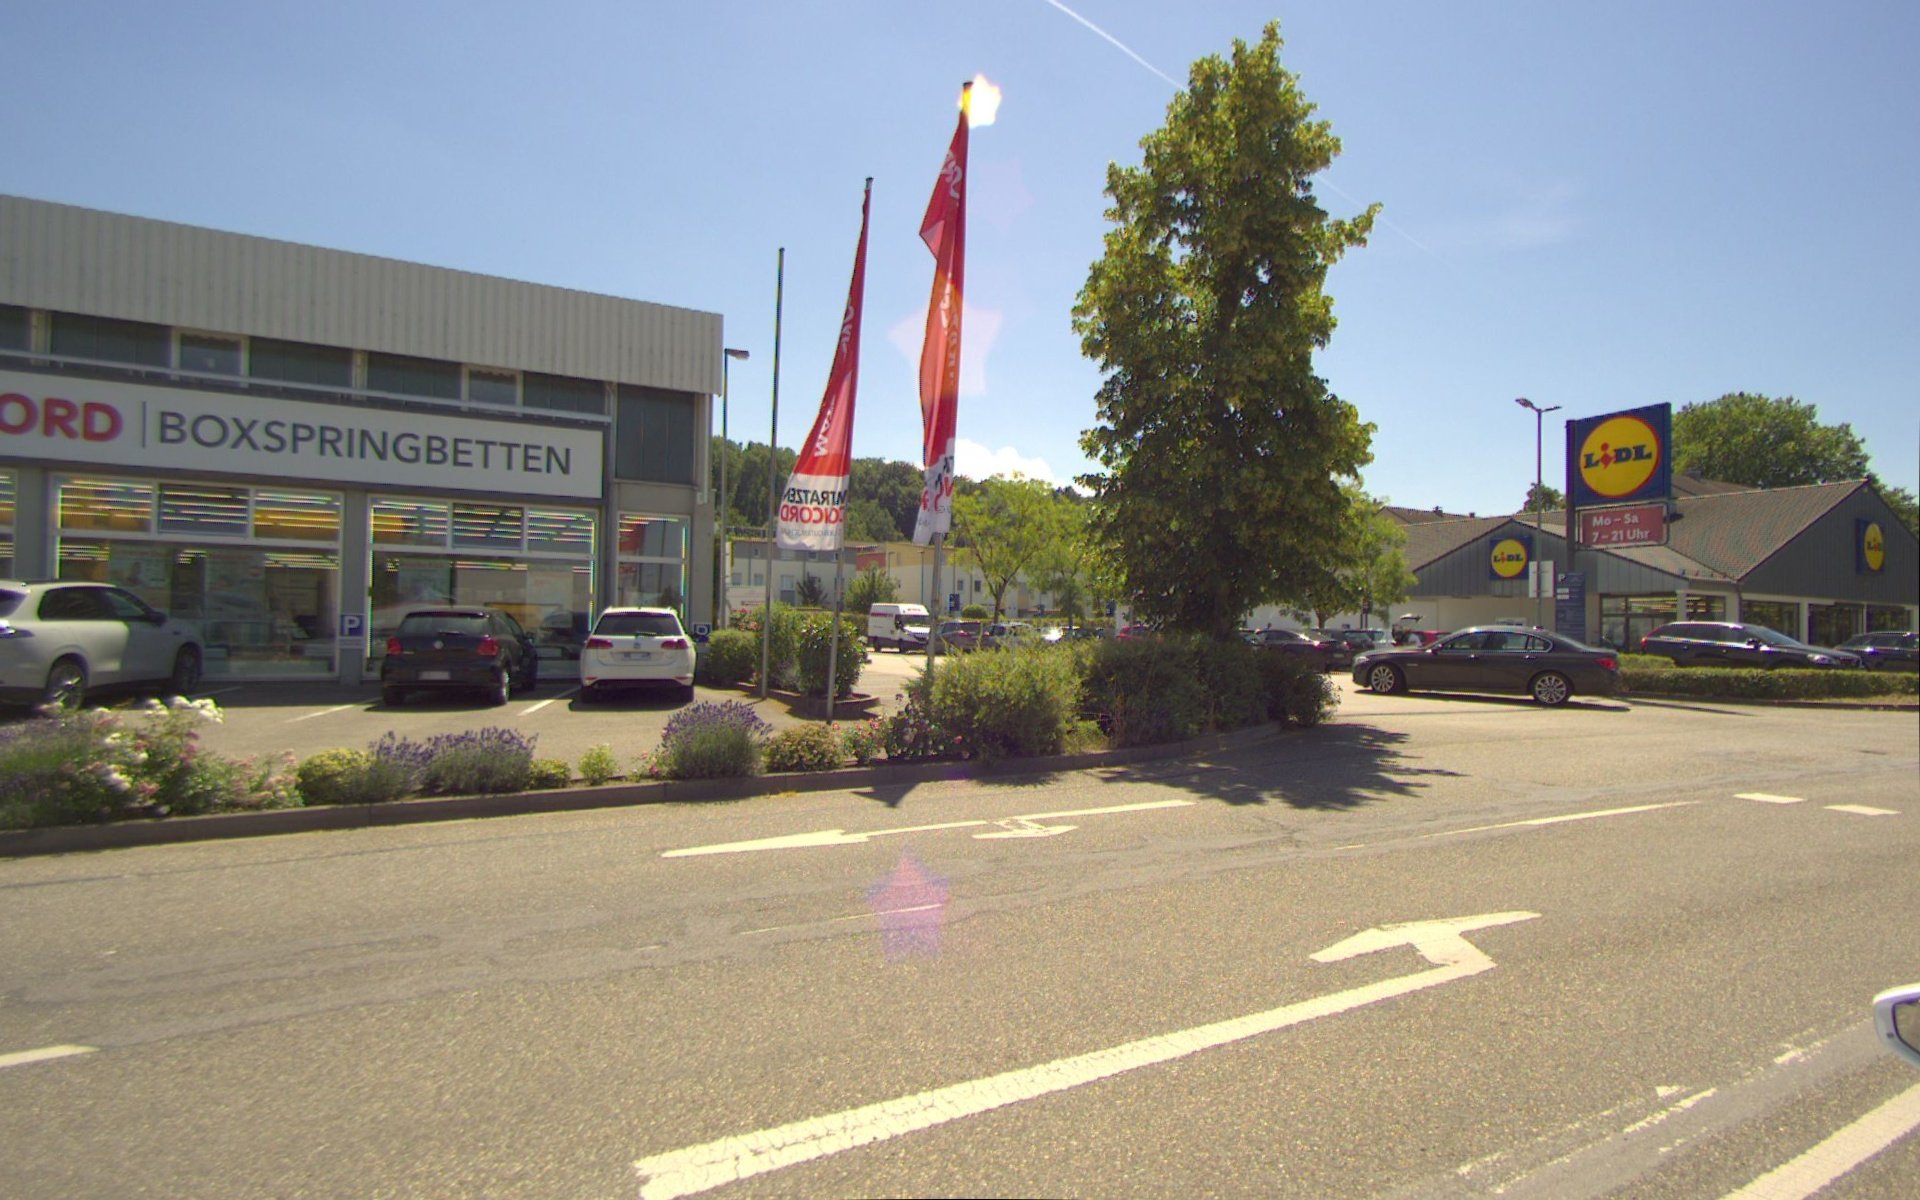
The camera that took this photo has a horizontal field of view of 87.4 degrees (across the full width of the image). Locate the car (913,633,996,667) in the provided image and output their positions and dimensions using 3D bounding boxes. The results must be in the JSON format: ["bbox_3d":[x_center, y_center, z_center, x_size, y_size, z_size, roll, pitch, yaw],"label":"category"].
[{"bbox_3d":[-0.311,2.341,47.555,1.753,1.387,4.206,3,-1,-36],"label":"car"}]

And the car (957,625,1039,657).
[{"bbox_3d":[1.821,2.009,49.307,1.753,1.387,4.206,3,-1,-36],"label":"car"}]

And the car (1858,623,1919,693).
[{"bbox_3d":[29.186,1.754,29.097,1.883,2.006,4.335,3,-1,-30],"label":"car"}]

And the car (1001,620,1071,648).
[{"bbox_3d":[4.738,2.128,62.521,3.952,1.623,1.785,2,0,-30],"label":"car"}]

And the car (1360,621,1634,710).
[{"bbox_3d":[10.630,1.235,20.100,4.607,1.419,1.934,2,-1,32],"label":"car"}]

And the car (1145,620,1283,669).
[{"bbox_3d":[8.190,1.420,32.694,1.753,1.387,4.206,3,-1,-36],"label":"car"}]

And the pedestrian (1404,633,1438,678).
[{"bbox_3d":[15.973,1.905,34.806,0.877,1.502,0.805,2,-1,39],"label":"pedestrian"}]

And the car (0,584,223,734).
[{"bbox_3d":[-12.037,0.660,13.317,1.966,1.686,4.534,1,-1,-13],"label":"car"}]

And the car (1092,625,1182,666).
[{"bbox_3d":[7.106,1.825,40.617,1.632,1.506,3.587,2,-1,-31],"label":"car"}]

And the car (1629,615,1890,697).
[{"bbox_3d":[19.824,1.335,25.180,2.069,1.785,4.696,2,-1,-23],"label":"car"}]

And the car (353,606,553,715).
[{"bbox_3d":[-7.790,0.872,15.822,1.966,1.494,3.628,1,-1,-13],"label":"car"}]

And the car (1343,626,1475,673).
[{"bbox_3d":[16.919,1.842,38.060,1.807,1.550,4.289,3,-1,-31],"label":"car"}]

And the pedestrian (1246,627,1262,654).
[{"bbox_3d":[18.028,2.489,61.525,0.627,1.601,0.671,2,-1,-30],"label":"pedestrian"}]

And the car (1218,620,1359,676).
[{"bbox_3d":[10.791,1.555,33.224,1.753,1.610,4.206,3,-1,-36],"label":"car"}]

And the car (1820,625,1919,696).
[{"bbox_3d":[26.891,1.715,27.699,2.073,1.869,4.377,2,-1,-22],"label":"car"}]

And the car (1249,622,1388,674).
[{"bbox_3d":[12.559,1.651,35.402,1.894,1.627,4.282,3,-1,-36],"label":"car"}]

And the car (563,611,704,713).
[{"bbox_3d":[-5.335,0.940,16.790,1.947,1.466,4.184,1,-1,-16],"label":"car"}]

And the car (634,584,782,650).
[{"bbox_3d":[-10.954,0.768,43.829,5.830,2.662,2.270,2,0,-30],"label":"car"}]

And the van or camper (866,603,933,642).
[{"bbox_3d":[-3.336,1.188,54.618,1.986,1.962,4.343,2,-1,-29],"label":"van or camper"}]

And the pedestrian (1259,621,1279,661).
[{"bbox_3d":[14.848,1.961,48.256,0.738,1.830,0.773,2,0,10],"label":"pedestrian"}]

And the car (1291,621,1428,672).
[{"bbox_3d":[14.714,1.690,37.217,2.091,1.677,4.289,3,-1,-31],"label":"car"}]

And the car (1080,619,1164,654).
[{"bbox_3d":[8.248,1.883,51.194,3.952,1.622,1.785,3,-1,-29],"label":"car"}]
